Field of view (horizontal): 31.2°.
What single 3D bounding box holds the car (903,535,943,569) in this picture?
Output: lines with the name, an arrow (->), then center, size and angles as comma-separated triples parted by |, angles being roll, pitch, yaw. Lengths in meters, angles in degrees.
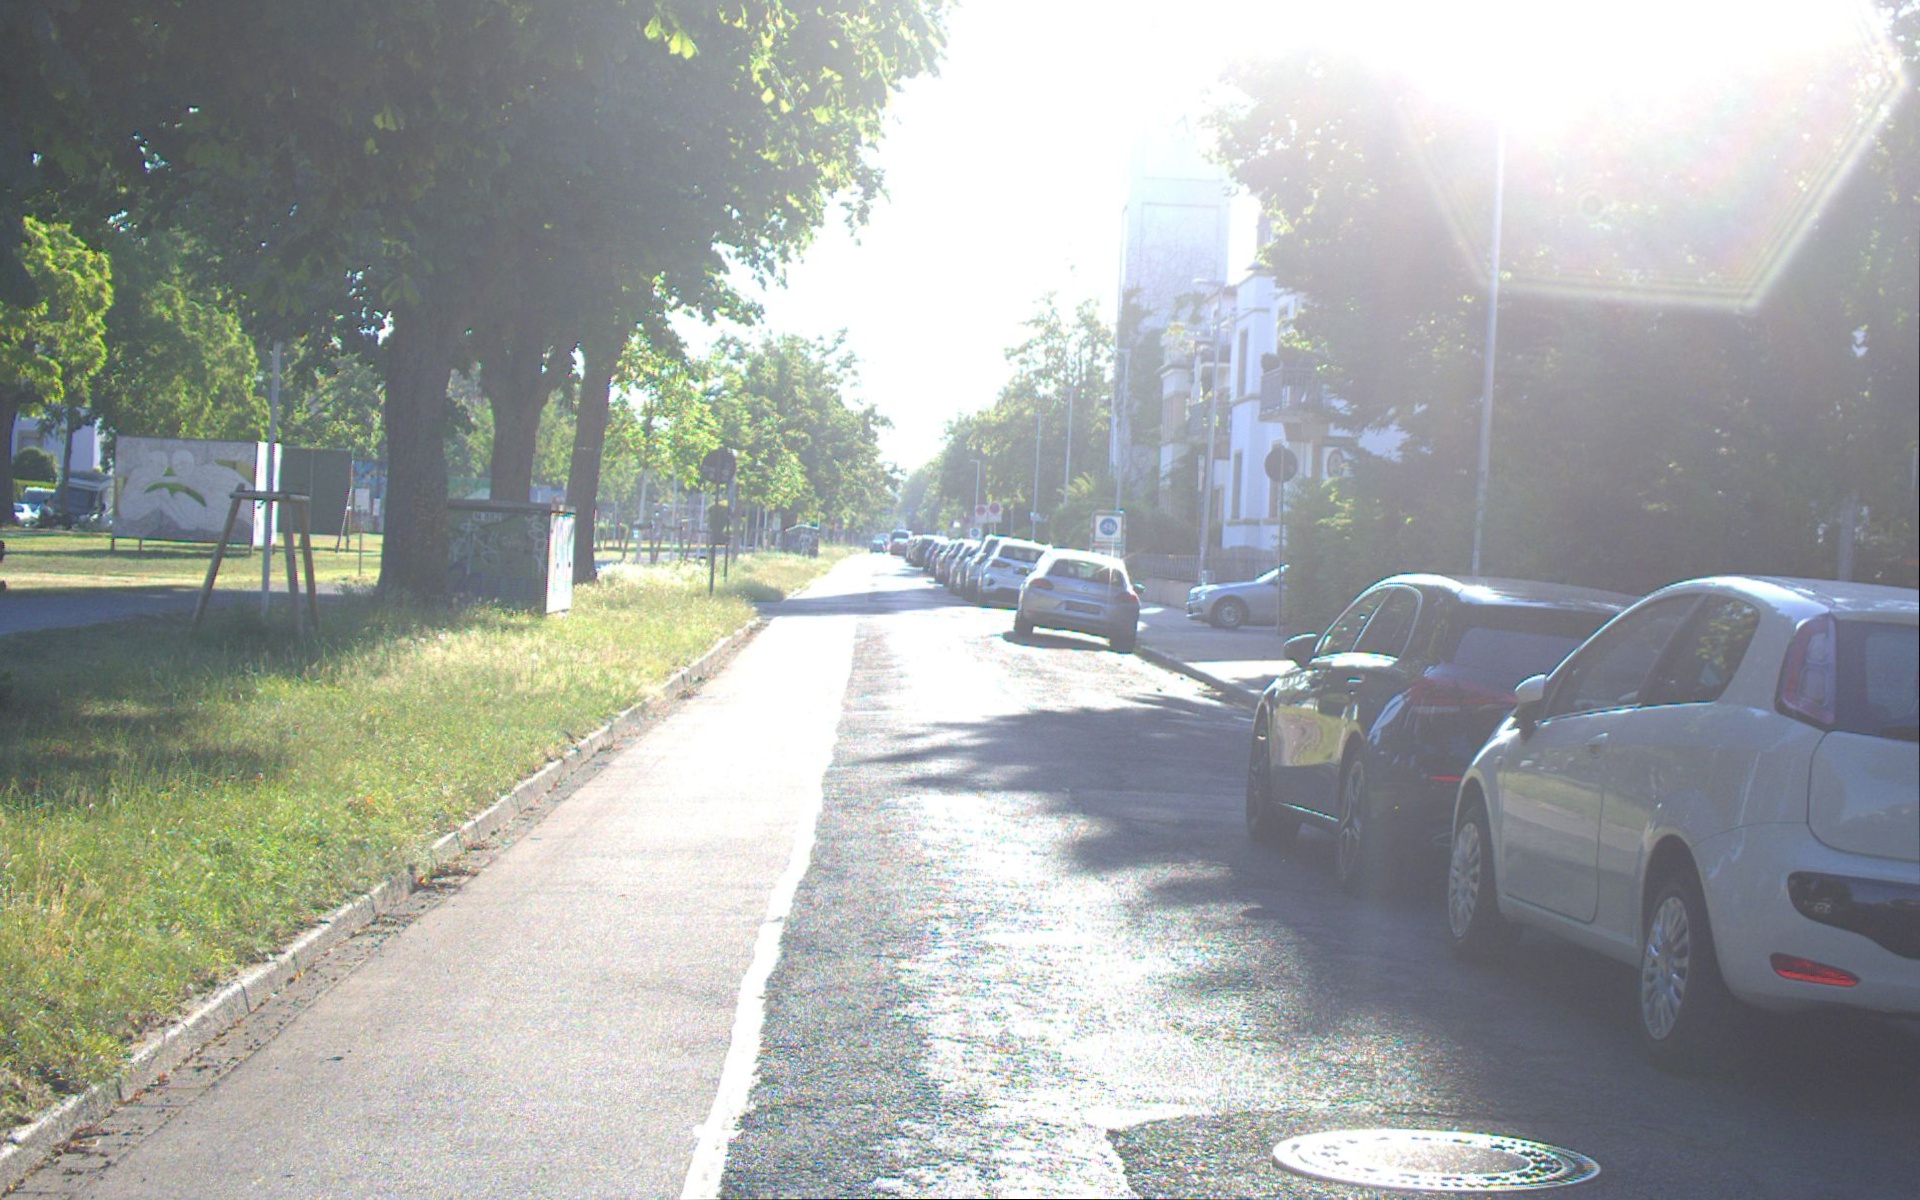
car -> -1.906, -2.513, 178.670 | 1.980, 1.677, 4.000 | 2, 1, 0

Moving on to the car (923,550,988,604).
car -> -0.159, -0.733, 107.370 | 1.760, 1.516, 4.001 | 4, 1, -3

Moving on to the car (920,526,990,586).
car -> -0.169, -1.262, 97.169 | 1.758, 1.599, 4.359 | 2, 1, -3

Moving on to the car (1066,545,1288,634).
car -> 4.200, -0.205, 66.945 | 3.986, 1.415, 1.767 | 3, 3, -6

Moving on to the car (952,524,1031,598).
car -> 0.734, -0.952, 82.765 | 1.685, 1.645, 4.100 | 3, 1, -2

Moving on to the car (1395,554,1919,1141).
car -> 2.765, 0.704, 11.311 | 1.691, 1.478, 3.930 | 6, 1, -5

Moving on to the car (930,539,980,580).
car -> -0.210, -1.701, 144.089 | 1.993, 1.624, 4.000 | 2, 1, 0

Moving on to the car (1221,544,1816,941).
car -> 2.470, 0.558, 16.316 | 1.748, 1.472, 4.289 | 4, 1, -4

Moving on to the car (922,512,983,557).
car -> -0.266, -2.277, 118.589 | 1.993, 1.459, 4.000 | 2, 1, 0

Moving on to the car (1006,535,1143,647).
car -> 1.745, -0.168, 53.562 | 1.757, 1.415, 4.072 | 8, 1, -1

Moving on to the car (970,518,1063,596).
car -> 1.225, -0.983, 76.764 | 1.758, 1.599, 4.359 | 2, 1, -3
